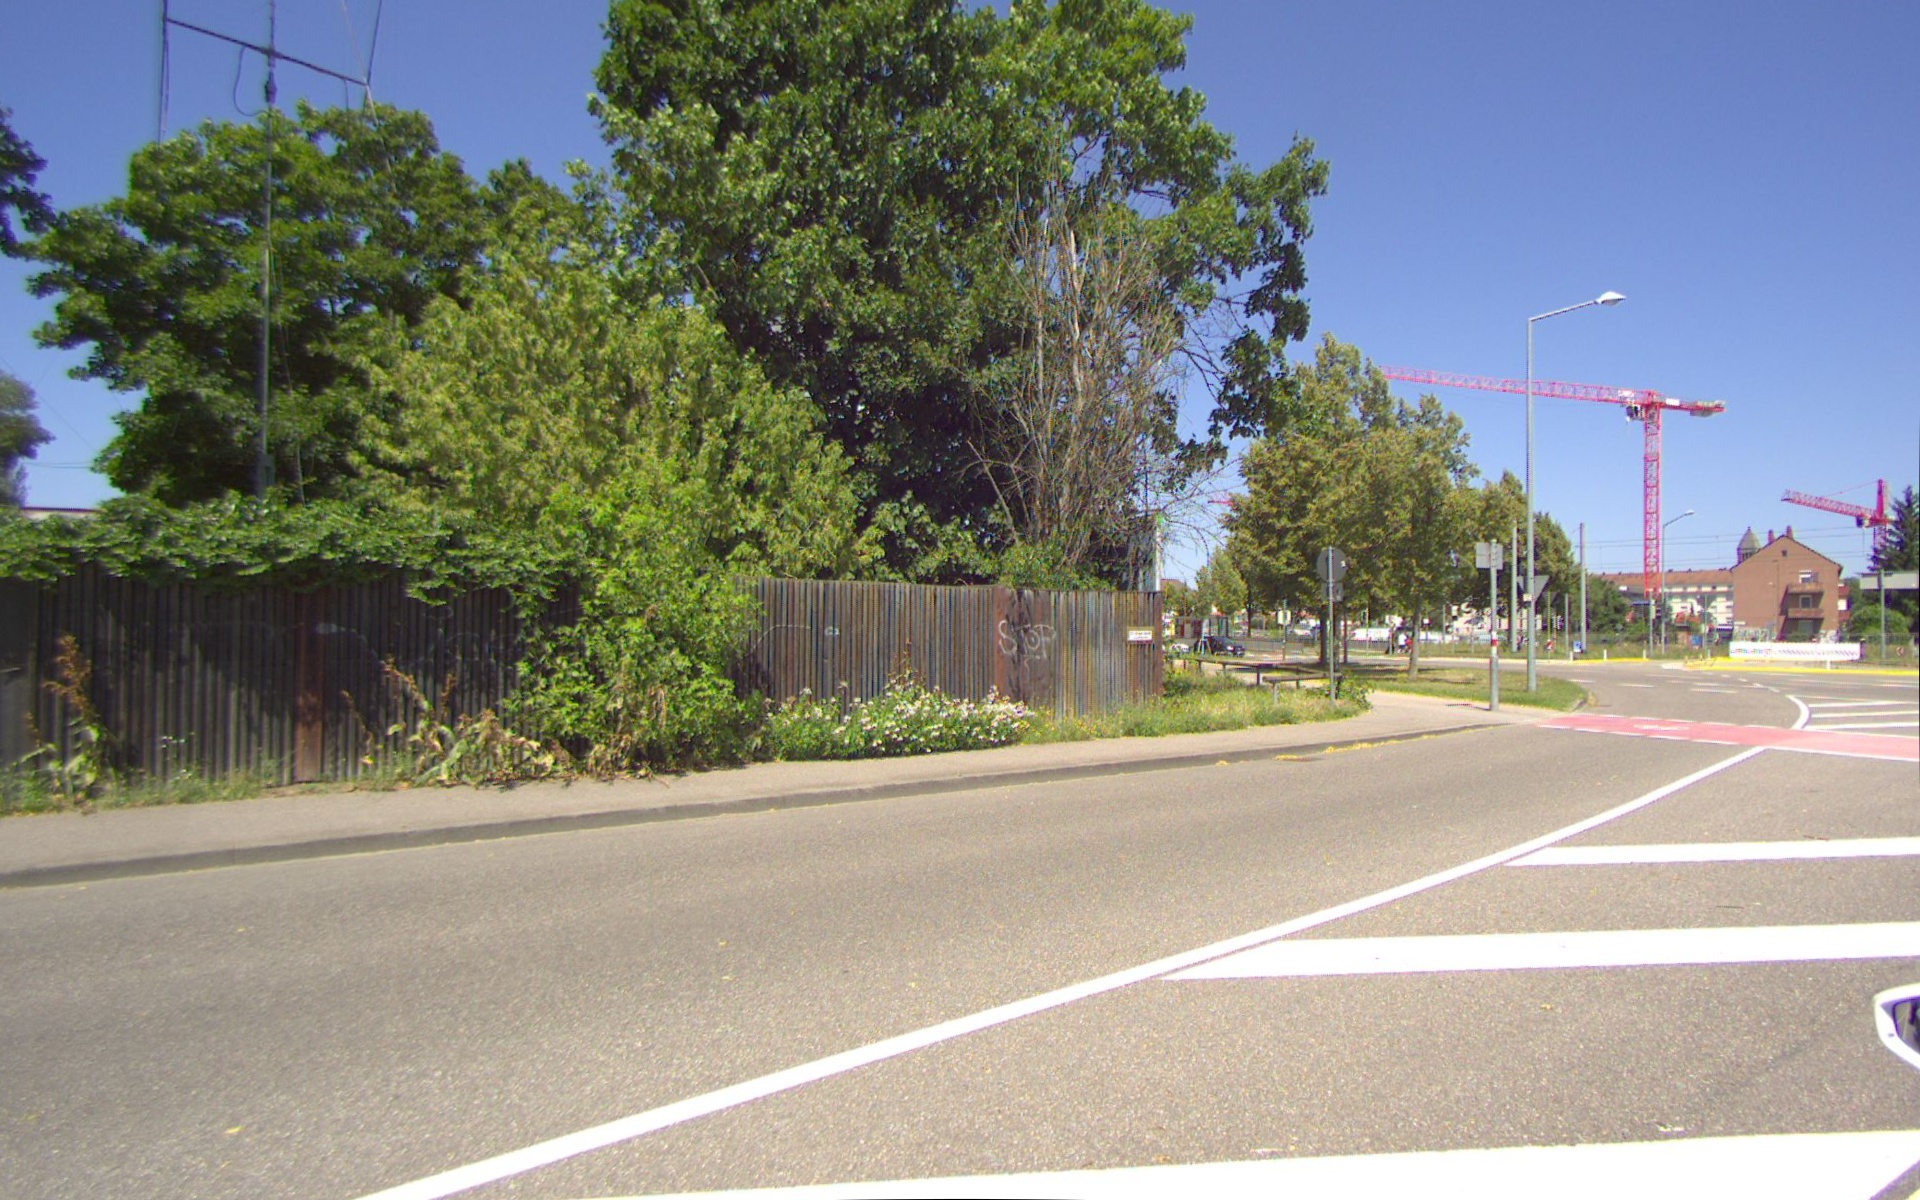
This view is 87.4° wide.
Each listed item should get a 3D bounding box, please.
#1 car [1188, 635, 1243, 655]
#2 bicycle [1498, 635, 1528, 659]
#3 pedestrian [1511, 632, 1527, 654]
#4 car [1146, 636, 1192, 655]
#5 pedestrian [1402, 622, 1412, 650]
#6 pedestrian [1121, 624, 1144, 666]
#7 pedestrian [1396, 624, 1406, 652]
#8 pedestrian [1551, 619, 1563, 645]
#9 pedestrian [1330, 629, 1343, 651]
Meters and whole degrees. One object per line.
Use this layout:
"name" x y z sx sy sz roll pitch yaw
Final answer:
"car" 17.586 3.095 69.235 1.719 1.228 3.540 2 -1 -28
"bicycle" 41.429 3.509 75.254 2.050 1.707 0.558 2 0 -14
"pedestrian" 43.529 3.342 78.231 0.749 1.661 0.778 2 0 -18
"car" 15.391 3.345 74.147 1.557 1.241 3.299 2 -1 -28
"pedestrian" 31.421 2.534 70.553 0.617 1.960 0.646 0 -1 26
"pedestrian" 7.997 2.089 46.644 0.821 1.894 0.609 2 0 -16
"pedestrian" 30.730 2.626 70.023 0.617 1.960 0.646 0 -1 26
"pedestrian" 46.464 2.489 78.178 0.588 2.040 0.598 2 0 -30
"pedestrian" 25.347 2.688 67.590 0.590 1.425 0.540 1 -2 -27
